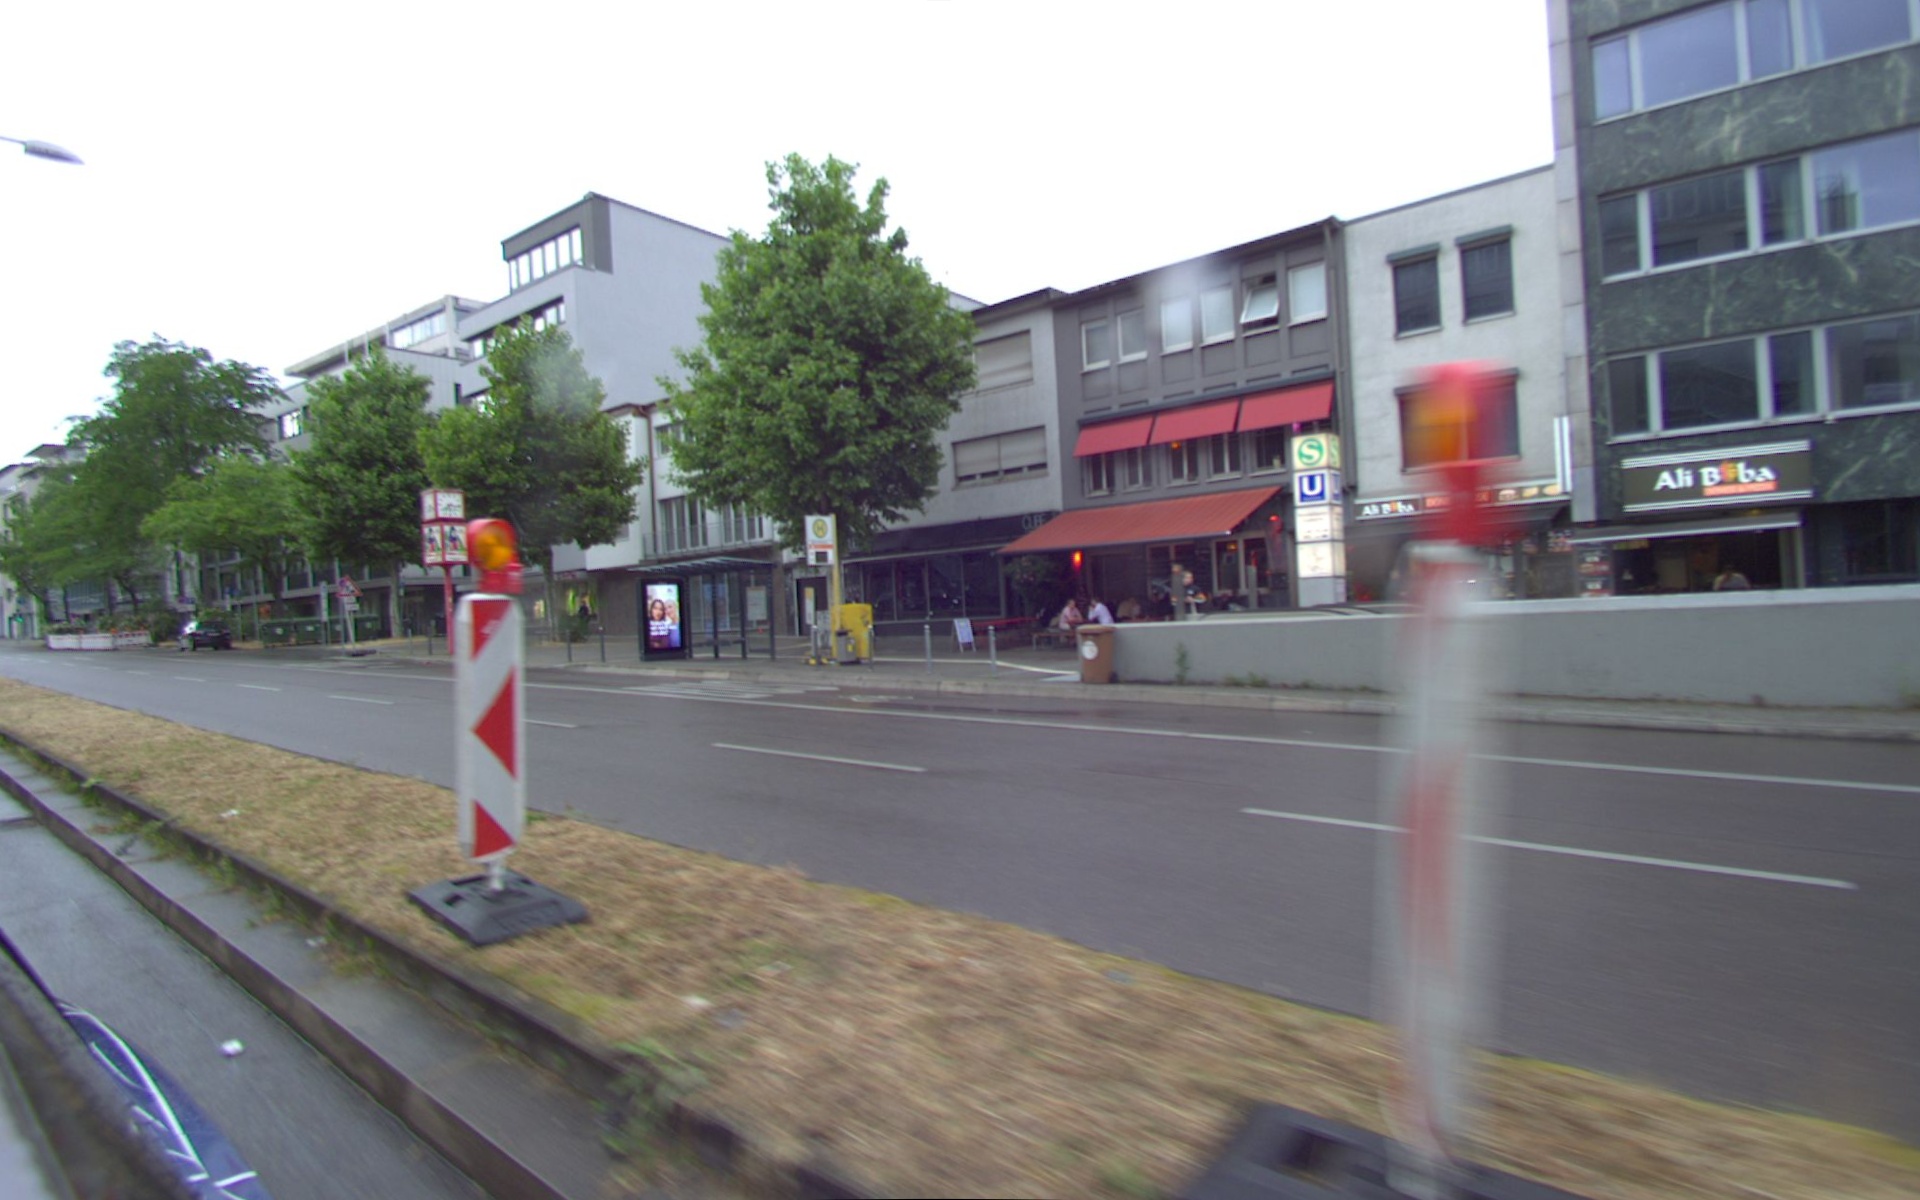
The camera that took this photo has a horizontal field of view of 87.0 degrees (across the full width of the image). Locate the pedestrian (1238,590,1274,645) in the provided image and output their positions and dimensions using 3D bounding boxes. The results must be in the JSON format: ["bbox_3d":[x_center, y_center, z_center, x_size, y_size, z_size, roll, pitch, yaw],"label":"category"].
[{"bbox_3d":[7.620,0.445,26.056,0.690,1.366,0.627,-2,-1,34],"label":"pedestrian"}]

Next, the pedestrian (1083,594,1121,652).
[{"bbox_3d":[3.672,0.599,26.148,0.706,1.461,0.683,-2,-1,37],"label":"pedestrian"}]

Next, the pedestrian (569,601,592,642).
[{"bbox_3d":[-16.571,0.940,44.201,0.653,1.776,0.688,-2,-1,43],"label":"pedestrian"}]

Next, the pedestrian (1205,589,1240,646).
[{"bbox_3d":[6.911,0.468,26.618,0.690,1.461,0.627,-2,-1,34],"label":"pedestrian"}]

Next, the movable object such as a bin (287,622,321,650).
[{"bbox_3d":[-34.811,1.910,53.697,1.088,1.437,1.265,-2,-1,41],"label":"movable object such as a bin"}]

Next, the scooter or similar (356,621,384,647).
[{"bbox_3d":[-28.835,1.666,49.440,1.323,1.130,0.767,-6,0,42],"label":"scooter or similar"}]

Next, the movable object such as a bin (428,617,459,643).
[{"bbox_3d":[-30.716,1.777,60.196,1.278,1.446,1.077,-2,0,32],"label":"movable object such as a bin"}]

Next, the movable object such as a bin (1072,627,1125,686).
[{"bbox_3d":[2.208,0.895,16.119,0.680,0.904,0.527,-2,-2,32],"label":"movable object such as a bin"}]

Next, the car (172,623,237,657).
[{"bbox_3d":[-39.678,2.068,53.103,4.019,1.648,1.761,-2,0,39],"label":"car"}]

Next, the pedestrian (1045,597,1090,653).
[{"bbox_3d":[2.843,0.658,26.766,0.912,1.461,0.683,-2,-1,37],"label":"pedestrian"}]

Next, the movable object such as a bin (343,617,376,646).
[{"bbox_3d":[-33.084,1.725,55.793,1.088,1.499,1.265,-2,-1,41],"label":"movable object such as a bin"}]

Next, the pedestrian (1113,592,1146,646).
[{"bbox_3d":[4.610,0.514,27.548,0.582,1.461,0.683,-2,-1,38],"label":"pedestrian"}]

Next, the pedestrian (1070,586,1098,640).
[{"bbox_3d":[3.683,0.378,29.956,0.603,1.582,0.591,-2,-1,31],"label":"pedestrian"}]

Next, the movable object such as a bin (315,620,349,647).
[{"bbox_3d":[-33.974,1.814,54.740,1.088,1.437,1.265,-2,-1,41],"label":"movable object such as a bin"}]

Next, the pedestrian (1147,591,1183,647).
[{"bbox_3d":[5.451,0.505,26.924,0.690,1.461,0.720,-2,-1,34],"label":"pedestrian"}]

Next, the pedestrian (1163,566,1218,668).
[{"bbox_3d":[4.426,0.327,19.438,0.757,1.899,0.683,-2,-1,37],"label":"pedestrian"}]

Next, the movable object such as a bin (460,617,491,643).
[{"bbox_3d":[-28.128,1.728,58.745,1.278,1.446,1.077,-2,0,32],"label":"movable object such as a bin"}]

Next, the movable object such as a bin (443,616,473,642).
[{"bbox_3d":[-29.432,1.681,59.339,1.278,1.446,1.077,-2,0,32],"label":"movable object such as a bin"}]

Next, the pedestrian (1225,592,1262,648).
[{"bbox_3d":[7.129,0.502,25.445,0.690,1.354,0.627,-2,-1,34],"label":"pedestrian"}]

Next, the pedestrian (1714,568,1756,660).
[{"bbox_3d":[16.397,0.289,21.421,0.590,1.899,0.749,-2,-1,34],"label":"pedestrian"}]

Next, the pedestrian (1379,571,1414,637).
[{"bbox_3d":[9.858,0.092,22.854,0.587,1.461,0.597,-2,-1,36],"label":"pedestrian"}]

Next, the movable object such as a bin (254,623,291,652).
[{"bbox_3d":[-35.724,1.917,52.606,1.088,1.437,1.345,-2,-1,41],"label":"movable object such as a bin"}]

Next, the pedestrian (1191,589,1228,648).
[{"bbox_3d":[6.384,0.472,25.896,0.690,1.461,0.627,-2,-1,34],"label":"pedestrian"}]

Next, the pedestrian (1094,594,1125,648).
[{"bbox_3d":[4.145,0.584,27.990,0.546,1.461,0.683,-2,-1,37],"label":"pedestrian"}]
